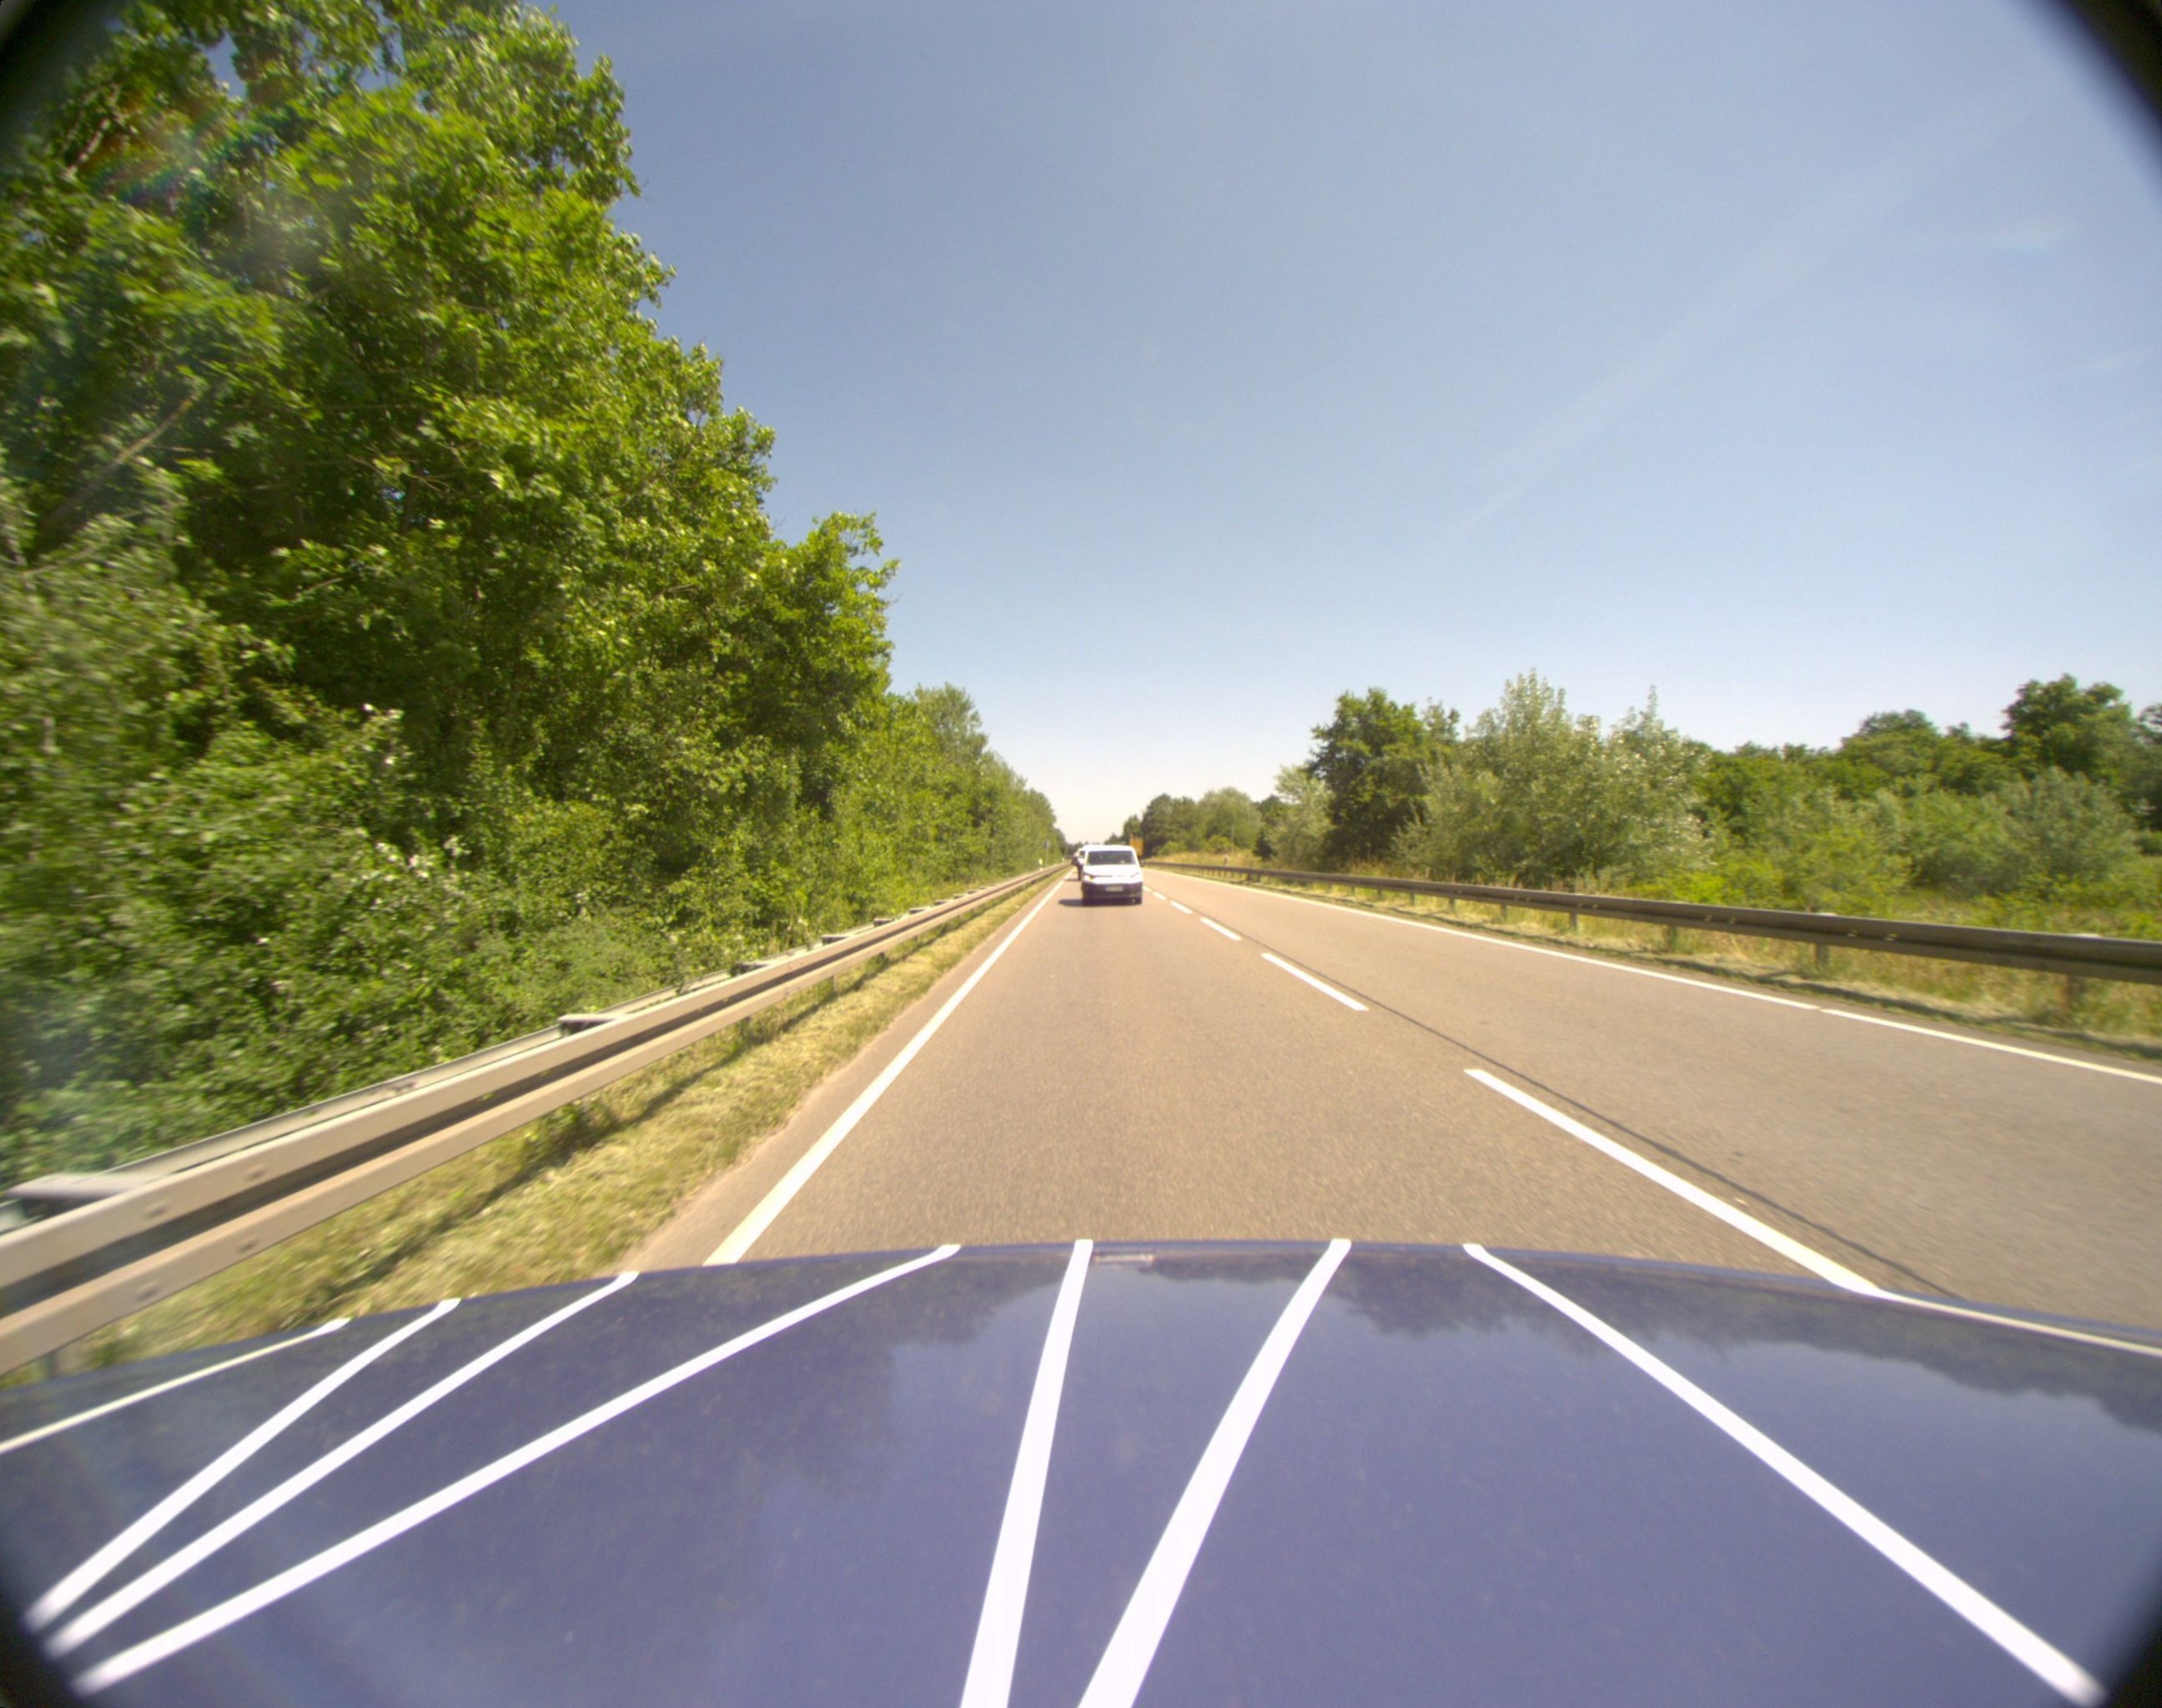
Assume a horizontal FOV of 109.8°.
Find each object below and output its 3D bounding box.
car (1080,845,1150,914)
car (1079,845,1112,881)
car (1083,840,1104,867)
[{"bbox_3d":[0.933,0.666,22.248,1.782,1.743,4.512,-2,0,1],"label":"car"},{"bbox_3d":[0.819,0.490,44.618,1.782,1.960,4.106,-2,0,1],"label":"car"},{"bbox_3d":[1.118,-0.059,68.548,1.782,2.287,4.106,-2,0,1],"label":"car"}]
